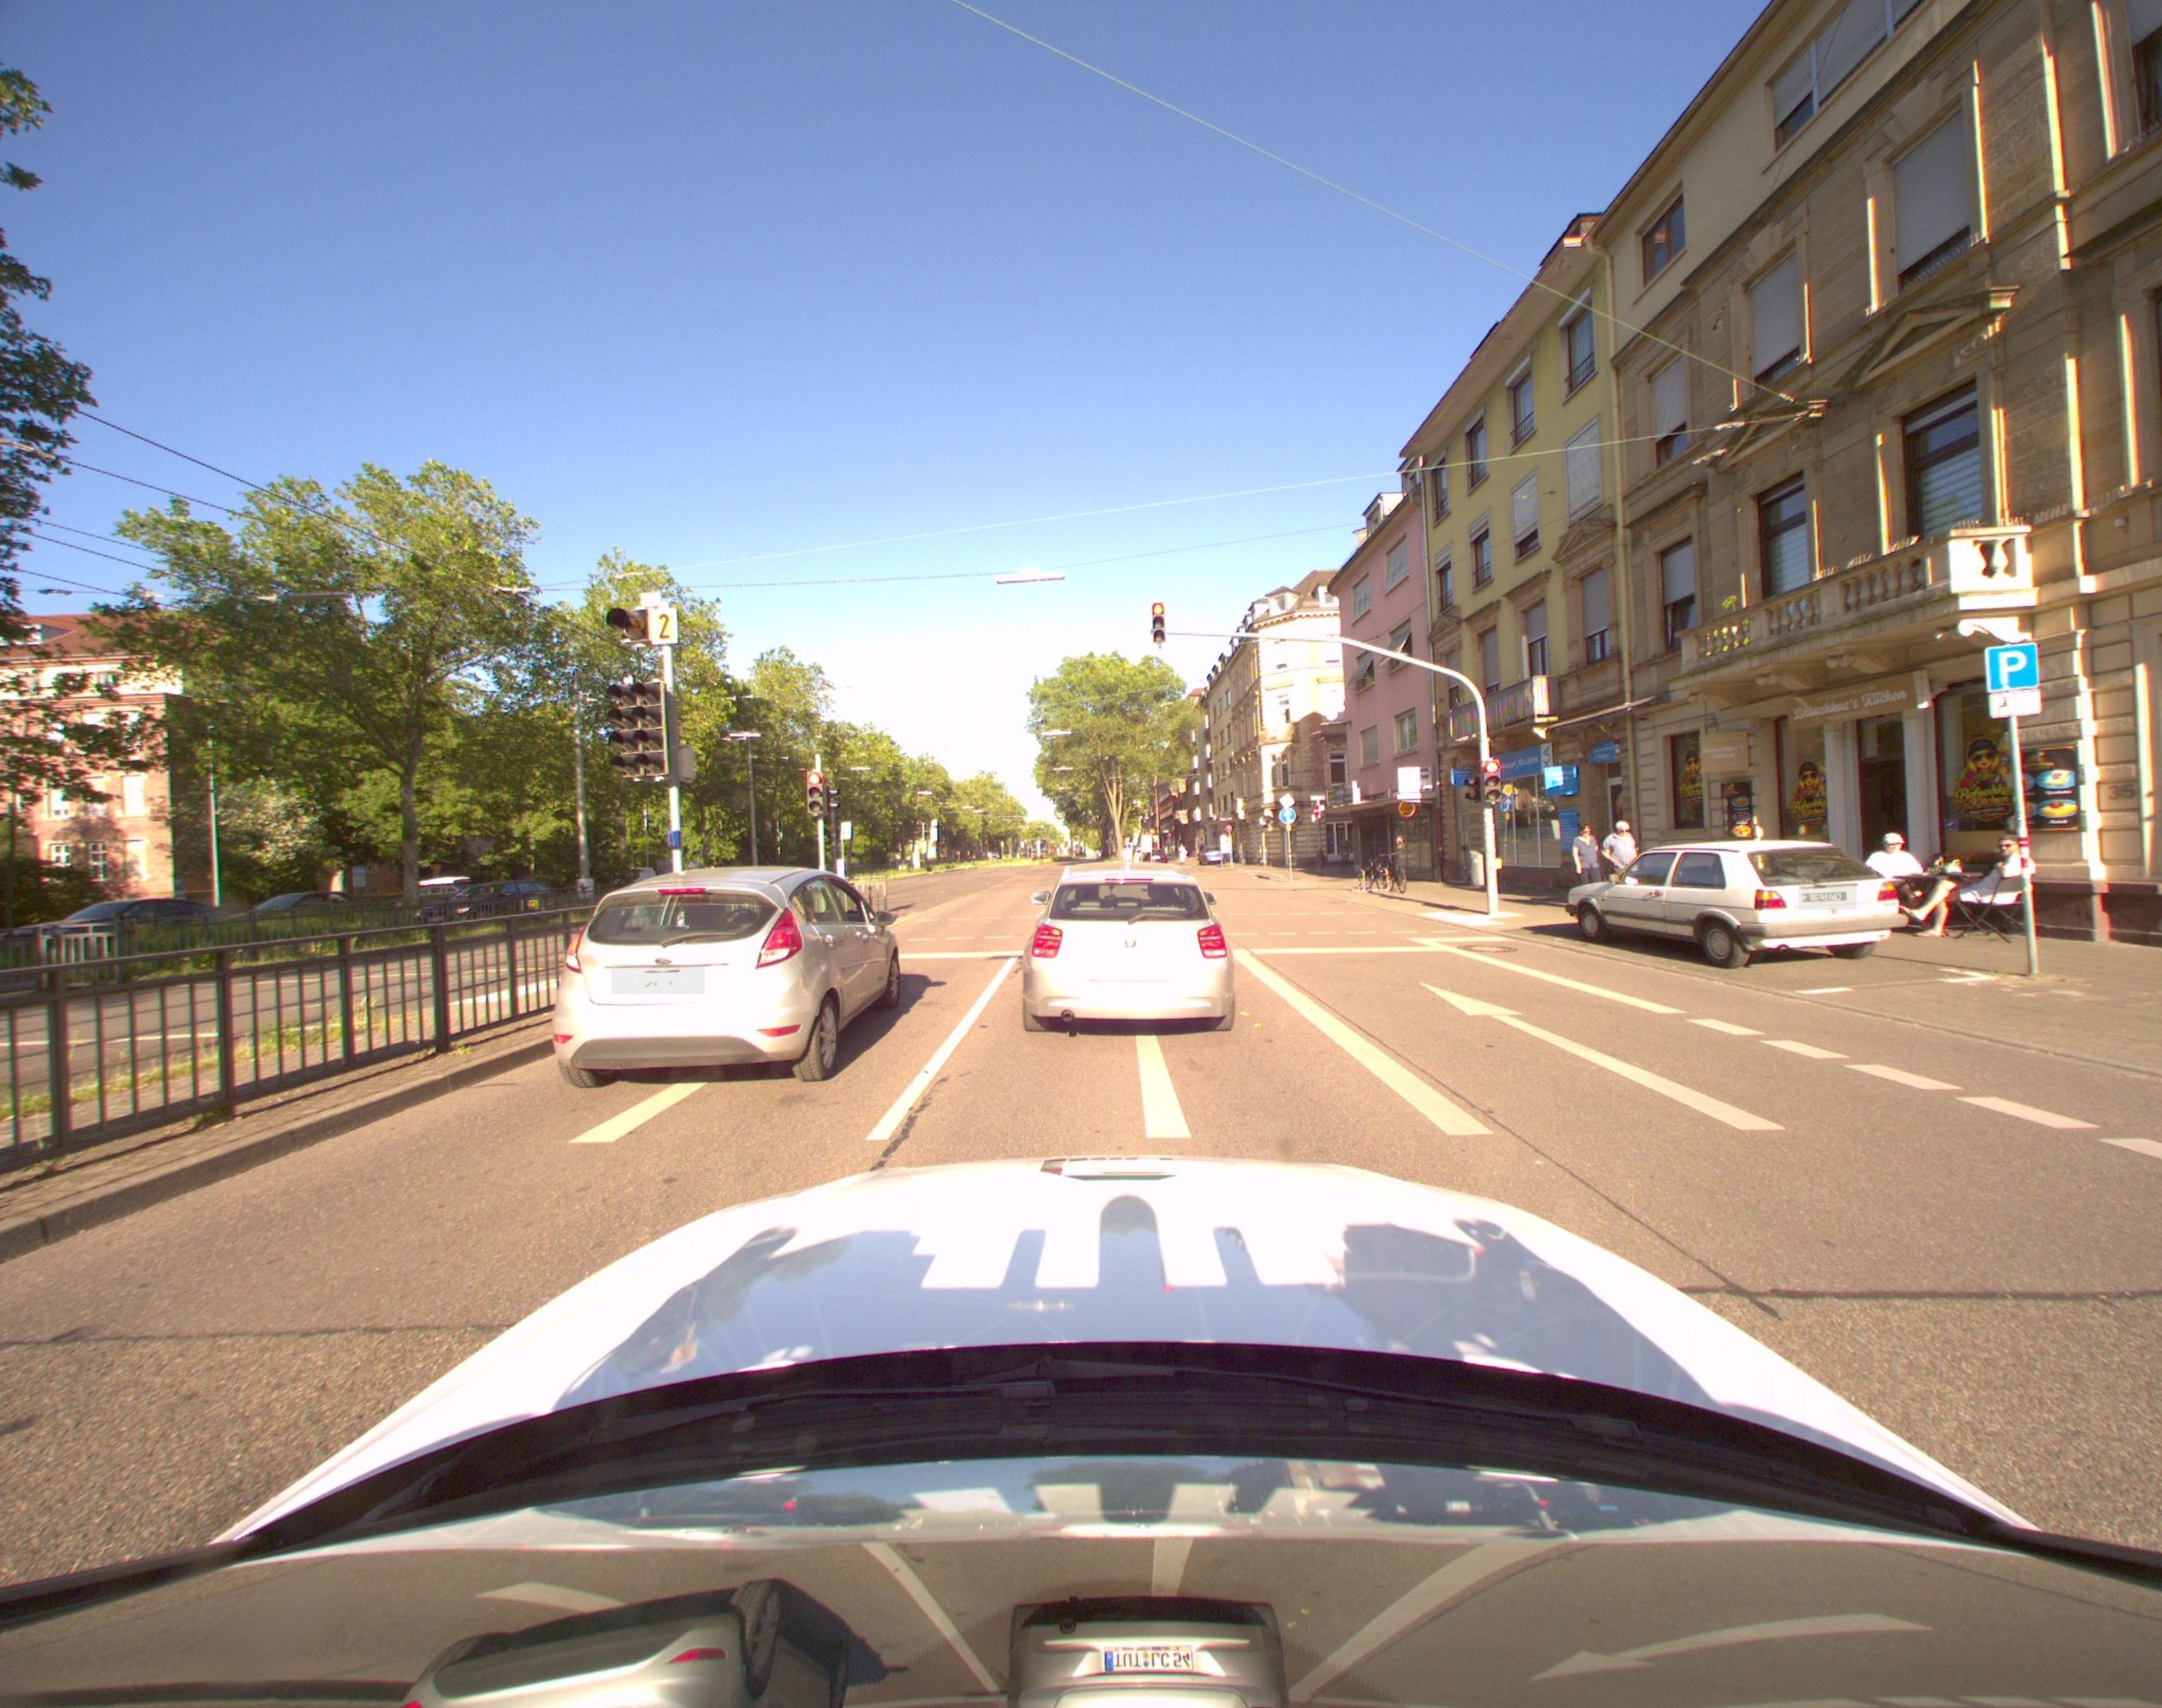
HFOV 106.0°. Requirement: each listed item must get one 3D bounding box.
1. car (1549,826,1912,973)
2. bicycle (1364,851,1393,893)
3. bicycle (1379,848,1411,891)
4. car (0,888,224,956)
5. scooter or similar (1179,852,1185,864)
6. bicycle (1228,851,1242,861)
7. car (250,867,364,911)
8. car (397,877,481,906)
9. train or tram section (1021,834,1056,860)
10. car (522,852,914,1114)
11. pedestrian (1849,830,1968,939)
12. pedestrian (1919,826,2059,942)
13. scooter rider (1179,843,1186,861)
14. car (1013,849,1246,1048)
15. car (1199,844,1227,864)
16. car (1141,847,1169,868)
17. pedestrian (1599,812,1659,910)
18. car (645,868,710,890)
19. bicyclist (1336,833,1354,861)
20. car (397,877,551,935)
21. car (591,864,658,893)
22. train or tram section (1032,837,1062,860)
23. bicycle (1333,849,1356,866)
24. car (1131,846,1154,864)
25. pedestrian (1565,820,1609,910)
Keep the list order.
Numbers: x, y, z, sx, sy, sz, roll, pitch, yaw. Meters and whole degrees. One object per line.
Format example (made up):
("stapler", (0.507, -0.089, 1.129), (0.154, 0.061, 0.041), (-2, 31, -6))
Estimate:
("car", (8.069, 0.469, 10.681), (1.557, 1.415, 4.005), (-6, 0, 2))
("bicycle", (8.675, 0.510, 23.819), (0.411, 1.140, 1.814), (-2, 0, 8))
("bicycle", (9.170, 0.431, 23.804), (0.446, 1.159, 1.762), (-2, 0, 8))
("car", (-27.823, 1.871, 23.508), (1.664, 1.509, 4.145), (-2, 1, 0))
("scooter or similar", (8.375, 0.302, 67.453), (0.335, 0.988, 1.289), (-2, 0, 13))
("bicycle", (12.203, 0.179, 64.705), (0.752, 0.770, 1.945), (-2, 0, 0))
("car", (-40.358, 1.790, 42.625), (1.986, 2.013, 4.002), (-2, 0, 2))
("car", (-37.759, 2.197, 47.930), (3.968, 1.494, 1.396), (-2, 0, 5))
("train or tram section", (-6.637, -1.103, 131.125), (3.954, 3.865, 17.497), (-2, 0, 2))
("car", (-2.550, 0.758, 6.791), (1.605, 1.467, 3.886), (-2, 0, -3))
("pedestrian", (10.587, 0.377, 10.436), (0.795, 1.281, 0.608), (-6, 0, -1))
("pedestrian", (10.895, 0.346, 9.790), (0.899, 1.281, 0.655), (-5, 0, -4))
("scooter rider", (8.393, -0.165, 67.450), (0.462, 1.505, 0.814), (-2, 0, 12))
("car", (0.422, 0.700, 8.111), (1.733, 1.467, 4.002), (-1, 0, 2))
("car", (10.392, -0.002, 64.328), (1.729, 1.519, 3.637), (-1, 0, 1))
("car", (5.303, 0.255, 58.755), (1.730, 1.433, 3.678), (-1, 0, 0))
("pedestrian", (10.499, 0.123, 15.616), (0.670, 1.806, 0.531), (-4, 0, 1))
("car", (-27.455, 1.662, 55.630), (1.929, 1.349, 4.849), (-2, -1, 0))
("bicyclist", (14.690, -0.382, 45.327), (0.541, 1.502, 0.967), (-2, 0, 43))
("car", (-19.153, 1.584, 25.983), (1.679, 1.498, 4.341), (-2, 0, -1))
("car", (-27.722, 1.450, 49.560), (1.664, 1.509, 4.145), (-2, 0, 0))
("train or tram section", (-6.058, -1.012, 148.522), (3.990, 3.865, 17.497), (-2, 0, 2))
("bicycle", (14.665, 0.197, 45.290), (0.646, 0.903, 1.346), (-1, 0, 43))
("car", (5.291, 0.056, 69.919), (1.719, 1.507, 3.555), (-1, 0, 0))
("pedestrian", (9.844, 0.216, 15.846), (0.547, 1.708, 0.389), (-2, 0, 4))
